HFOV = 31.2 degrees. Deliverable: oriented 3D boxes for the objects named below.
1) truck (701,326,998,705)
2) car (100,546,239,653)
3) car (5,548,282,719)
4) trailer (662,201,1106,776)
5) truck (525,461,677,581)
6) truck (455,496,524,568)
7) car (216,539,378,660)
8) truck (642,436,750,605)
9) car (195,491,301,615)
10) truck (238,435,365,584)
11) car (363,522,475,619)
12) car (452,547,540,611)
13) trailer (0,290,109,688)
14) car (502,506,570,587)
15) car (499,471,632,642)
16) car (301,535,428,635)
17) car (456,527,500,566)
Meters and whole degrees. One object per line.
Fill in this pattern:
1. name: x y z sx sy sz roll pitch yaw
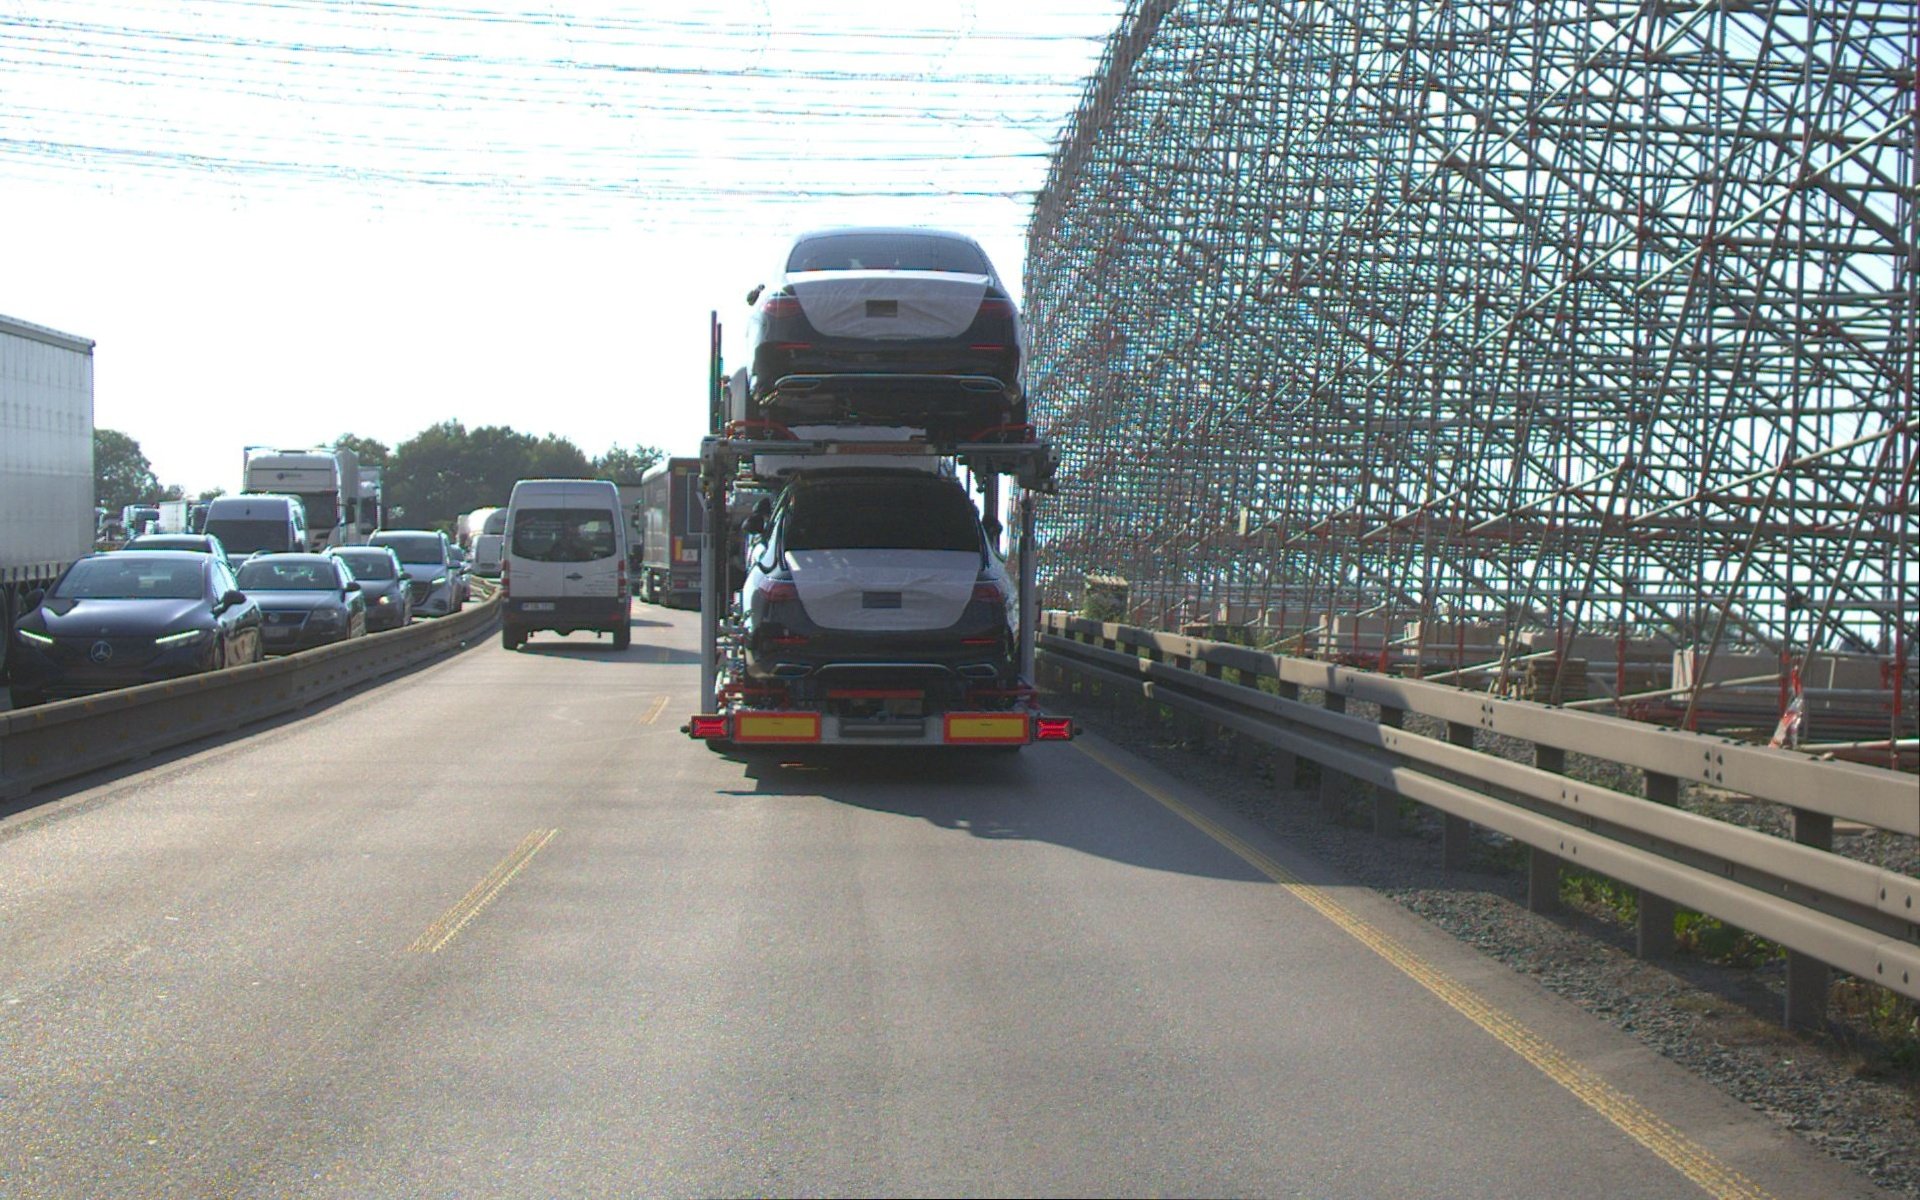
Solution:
1. truck: -1.246 -0.844 37.269 2.881 3.690 7.326 0 0 -3
2. car: -13.128 -0.037 57.269 1.679 1.678 4.001 2 1 -5
3. car: -7.854 0.270 33.495 1.784 1.497 4.755 2 1 -3
4. trailer: -0.865 -0.765 29.805 2.868 3.712 14.949 0 0 -3
5. truck: -13.808 -2.901 130.831 3.686 4.206 13.672 -3 1 -14
6. truck: -25.243 -3.645 184.123 2.615 3.711 9.662 1 1 -13
7. car: -9.023 -0.041 47.073 1.741 1.537 4.406 2 1 -6
8. truck: -7.307 -2.179 96.037 2.732 4.370 11.523 1 1 -4
9. car: -15.201 -1.013 73.535 1.993 2.532 4.001 2 1 -9
10. truck: -16.708 -2.259 87.867 2.594 3.462 12.395 2 1 -8
11. car: -11.059 -0.620 70.455 1.836 1.887 4.001 2 1 -3
12. car: -11.110 -0.519 82.187 1.836 1.448 4.001 1 1 -11
13. trailer: -11.483 -1.188 35.871 2.653 4.219 13.922 2 1 -4
14. car: -14.075 -1.781 113.953 1.993 2.570 4.001 2 1 -10
15. car: -6.236 -0.668 54.671 1.956 2.612 4.000 0 0 -5
16. car: -10.265 -0.280 59.482 1.695 1.623 4.001 2 1 -3
17. car: -20.452 -2.244 145.928 1.710 1.612 3.504 0 0 -6
